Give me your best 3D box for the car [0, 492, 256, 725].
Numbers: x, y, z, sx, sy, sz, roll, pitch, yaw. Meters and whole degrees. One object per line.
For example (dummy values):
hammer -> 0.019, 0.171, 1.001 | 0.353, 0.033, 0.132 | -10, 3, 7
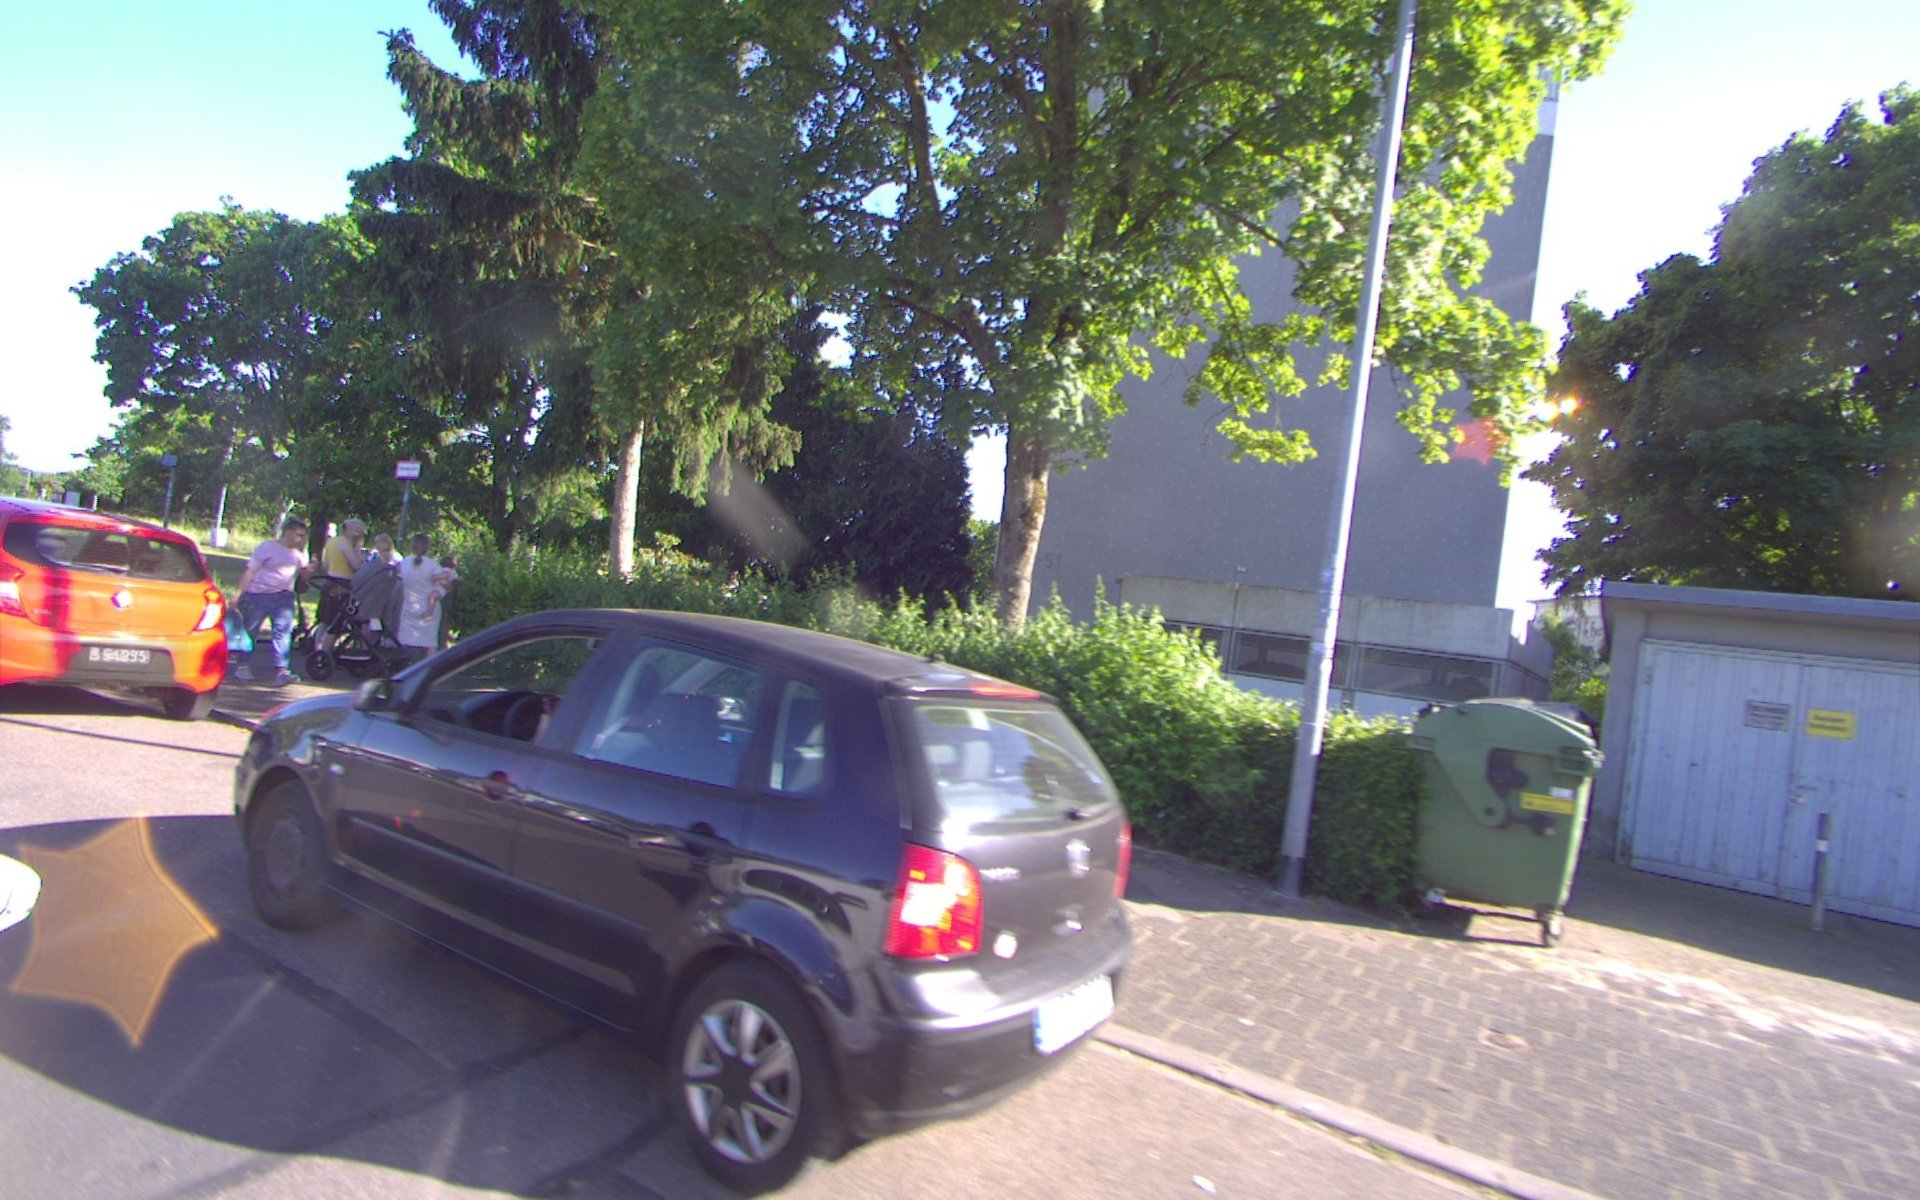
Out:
car -> -7.416, -0.059, 7.770 | 3.723, 1.462, 1.580 | 6, -2, 28

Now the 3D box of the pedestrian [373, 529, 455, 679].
pedestrian -> -5.981, 0.049, 11.034 | 0.461, 1.584, 0.486 | 6, 0, 26

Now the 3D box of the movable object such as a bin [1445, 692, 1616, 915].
movable object such as a bin -> 4.412, 1.503, 7.798 | 0.935, 1.432, 1.277 | 6, -2, 31

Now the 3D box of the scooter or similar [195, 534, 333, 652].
scooter or similar -> -8.314, -0.074, 12.034 | 1.231, 1.242, 0.400 | 7, 0, -1

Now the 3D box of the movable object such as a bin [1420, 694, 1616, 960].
movable object such as a bin -> 3.659, 1.401, 6.601 | 0.899, 1.419, 1.240 | 6, -2, 31

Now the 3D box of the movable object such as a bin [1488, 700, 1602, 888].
movable object such as a bin -> 5.019, 1.627, 8.645 | 0.677, 1.432, 0.725 | 6, -1, 31

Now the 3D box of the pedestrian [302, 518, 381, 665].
pedestrian -> -6.967, -0.097, 11.327 | 0.588, 1.584, 0.480 | 6, 0, 40

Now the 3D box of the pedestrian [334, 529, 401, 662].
pedestrian -> -7.064, -0.050, 11.995 | 0.492, 1.522, 0.362 | 6, 0, 27

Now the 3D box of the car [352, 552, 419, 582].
car -> -37.333, -2.103, 65.512 | 1.694, 1.497, 3.744 | 6, -1, 9

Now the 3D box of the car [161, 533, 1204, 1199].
car -> -1.233, 0.707, 3.951 | 3.817, 1.419, 1.650 | 7, -1, 31

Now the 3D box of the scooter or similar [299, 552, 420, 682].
scooter or similar -> -6.267, 0.180, 10.508 | 0.890, 1.242, 0.624 | 6, 0, 30

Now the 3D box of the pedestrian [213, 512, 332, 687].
pedestrian -> -6.582, 0.008, 9.634 | 0.784, 1.584, 0.563 | 5, 0, -42
